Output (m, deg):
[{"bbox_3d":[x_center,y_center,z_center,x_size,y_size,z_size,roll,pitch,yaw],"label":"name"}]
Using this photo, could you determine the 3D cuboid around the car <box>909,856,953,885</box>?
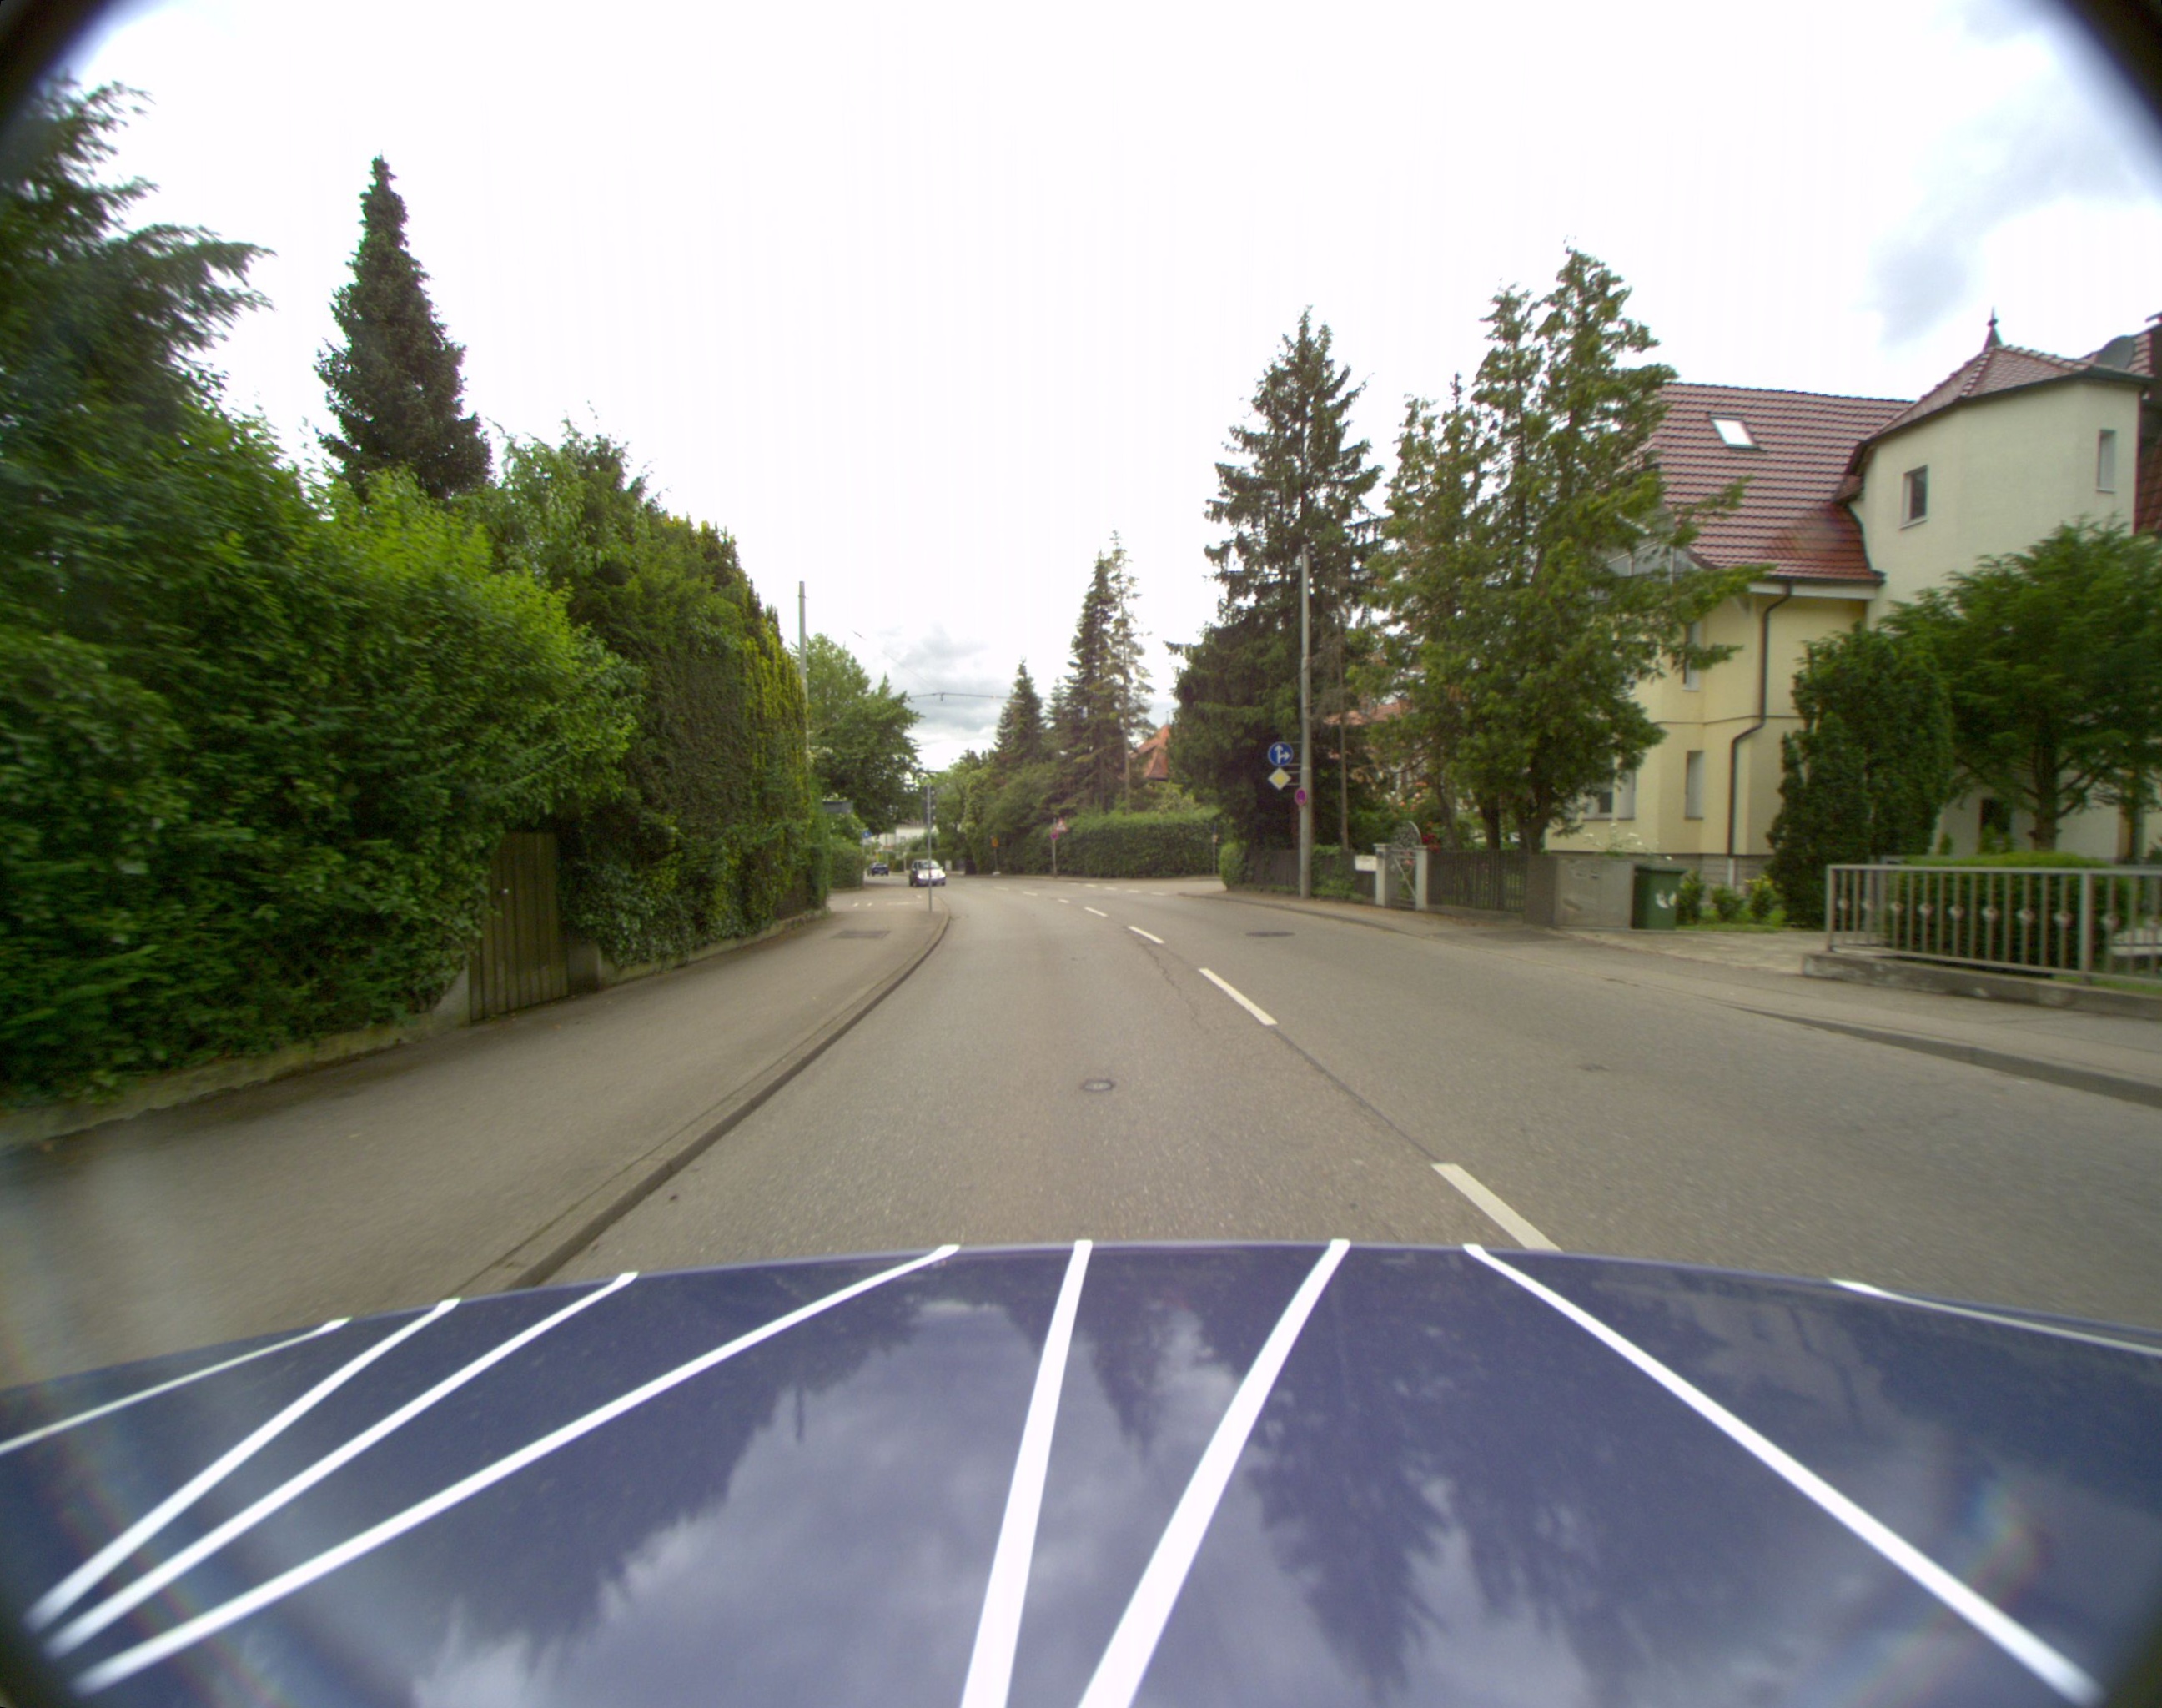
[{"bbox_3d":[-9.160,0.969,46.235,2.002,1.587,3.993,-2,1,-19],"label":"car"}]

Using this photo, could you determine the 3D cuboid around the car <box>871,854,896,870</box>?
[{"bbox_3d":[-21.267,0.859,81.864,1.764,1.431,4.084,-6,3,-25],"label":"car"}]
